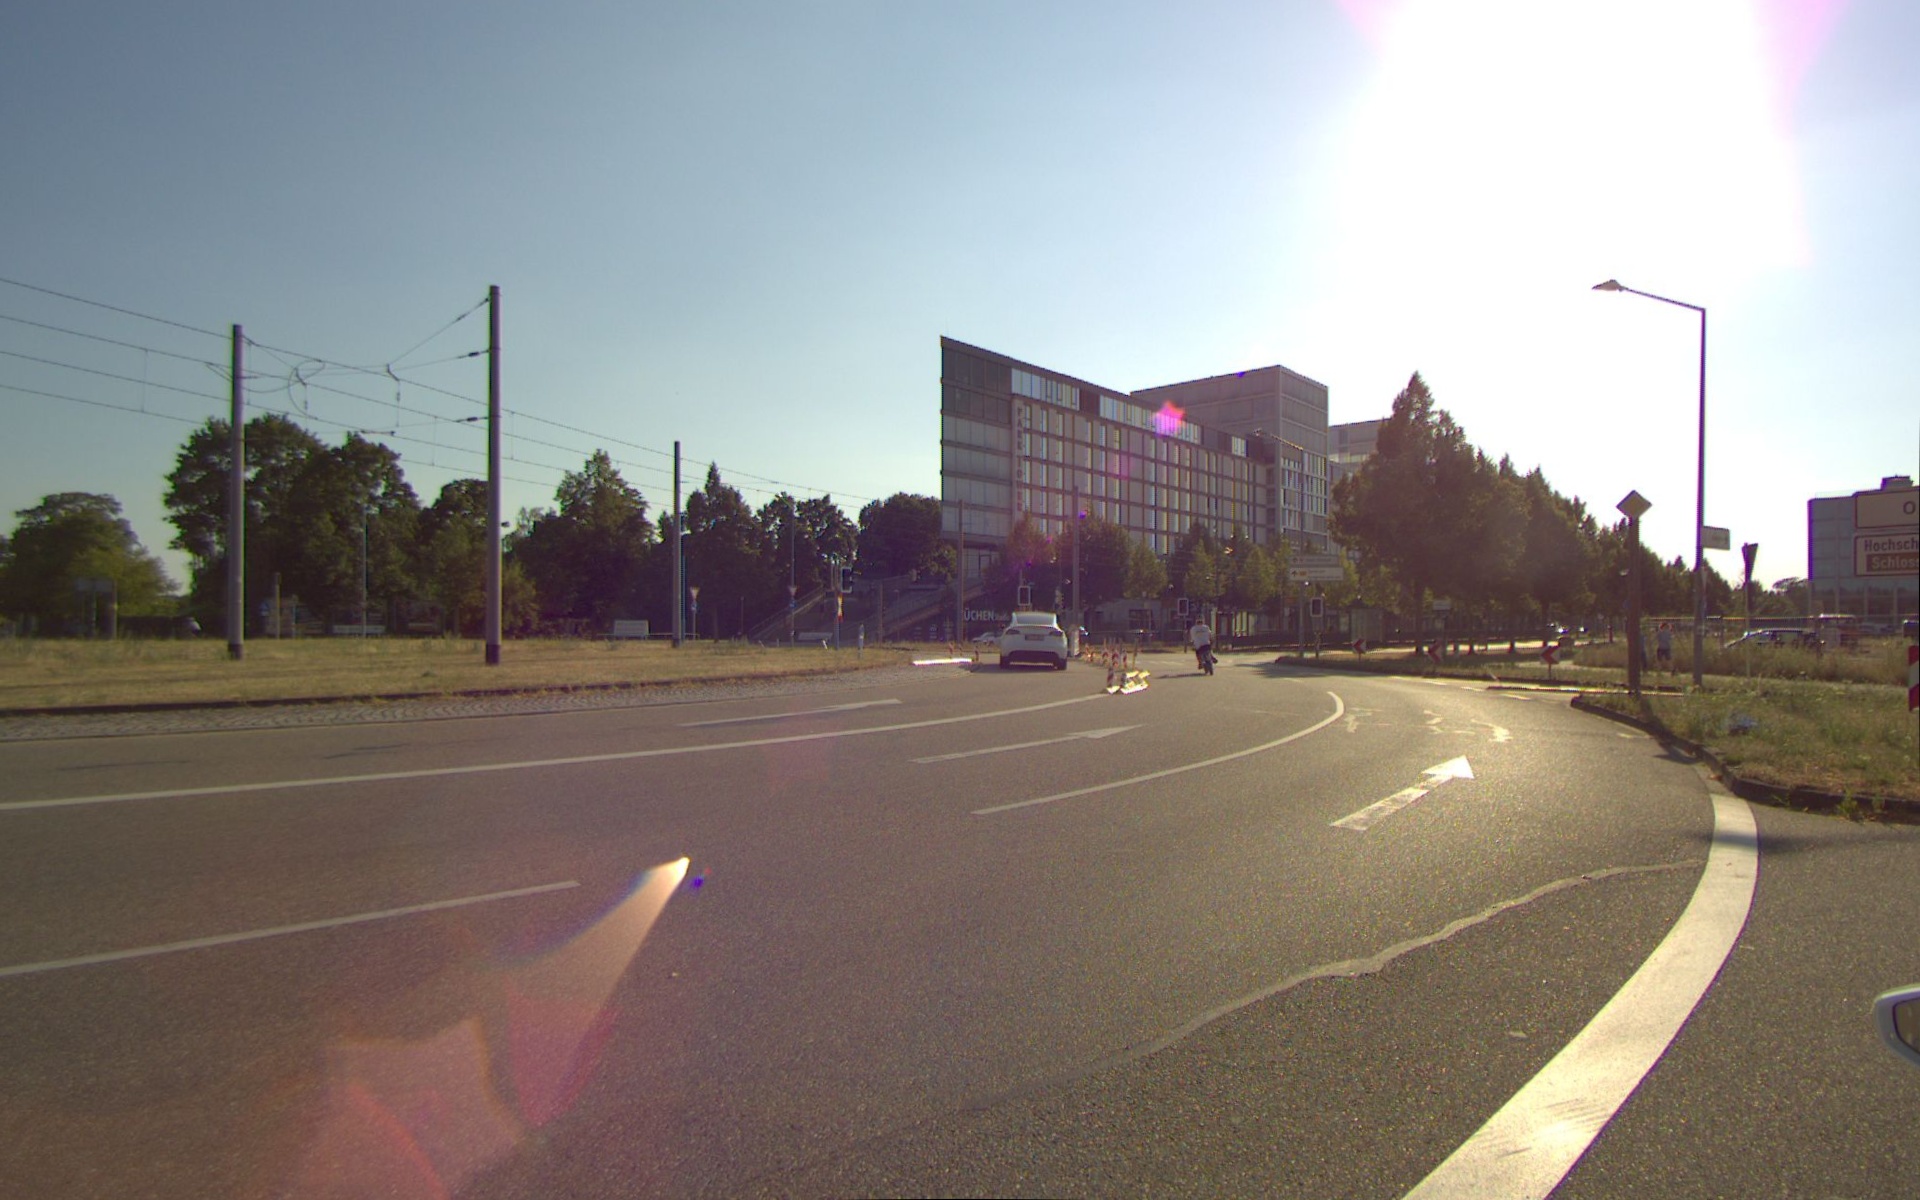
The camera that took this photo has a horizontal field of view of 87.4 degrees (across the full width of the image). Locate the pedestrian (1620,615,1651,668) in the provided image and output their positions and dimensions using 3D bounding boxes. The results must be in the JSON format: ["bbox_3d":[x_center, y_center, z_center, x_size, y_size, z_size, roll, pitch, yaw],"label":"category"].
[{"bbox_3d":[22.275,1.365,33.131,0.772,1.731,0.811,-1,-2,31],"label":"pedestrian"}]

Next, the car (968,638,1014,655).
[{"bbox_3d":[2.379,3.545,77.247,3.480,1.256,1.637,2,-2,-45],"label":"car"}]

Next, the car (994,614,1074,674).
[{"bbox_3d":[2.244,1.241,29.365,1.959,1.595,4.003,0,-1,10],"label":"car"}]

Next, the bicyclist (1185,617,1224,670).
[{"bbox_3d":[6.732,1.185,27.658,0.857,1.428,0.626,0,-1,38],"label":"bicyclist"}]

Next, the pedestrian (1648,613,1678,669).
[{"bbox_3d":[23.242,1.347,33.235,0.747,1.799,0.770,-1,-2,32],"label":"pedestrian"}]

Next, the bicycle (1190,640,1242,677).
[{"bbox_3d":[7.038,1.596,27.596,0.837,0.941,1.713,-1,-1,35],"label":"bicycle"}]

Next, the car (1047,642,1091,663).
[{"bbox_3d":[8.472,4.081,78.164,3.307,1.595,1.547,1,-2,-37],"label":"car"}]

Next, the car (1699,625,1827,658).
[{"bbox_3d":[35.234,1.802,44.211,4.171,1.381,1.995,-1,-2,32],"label":"car"}]
